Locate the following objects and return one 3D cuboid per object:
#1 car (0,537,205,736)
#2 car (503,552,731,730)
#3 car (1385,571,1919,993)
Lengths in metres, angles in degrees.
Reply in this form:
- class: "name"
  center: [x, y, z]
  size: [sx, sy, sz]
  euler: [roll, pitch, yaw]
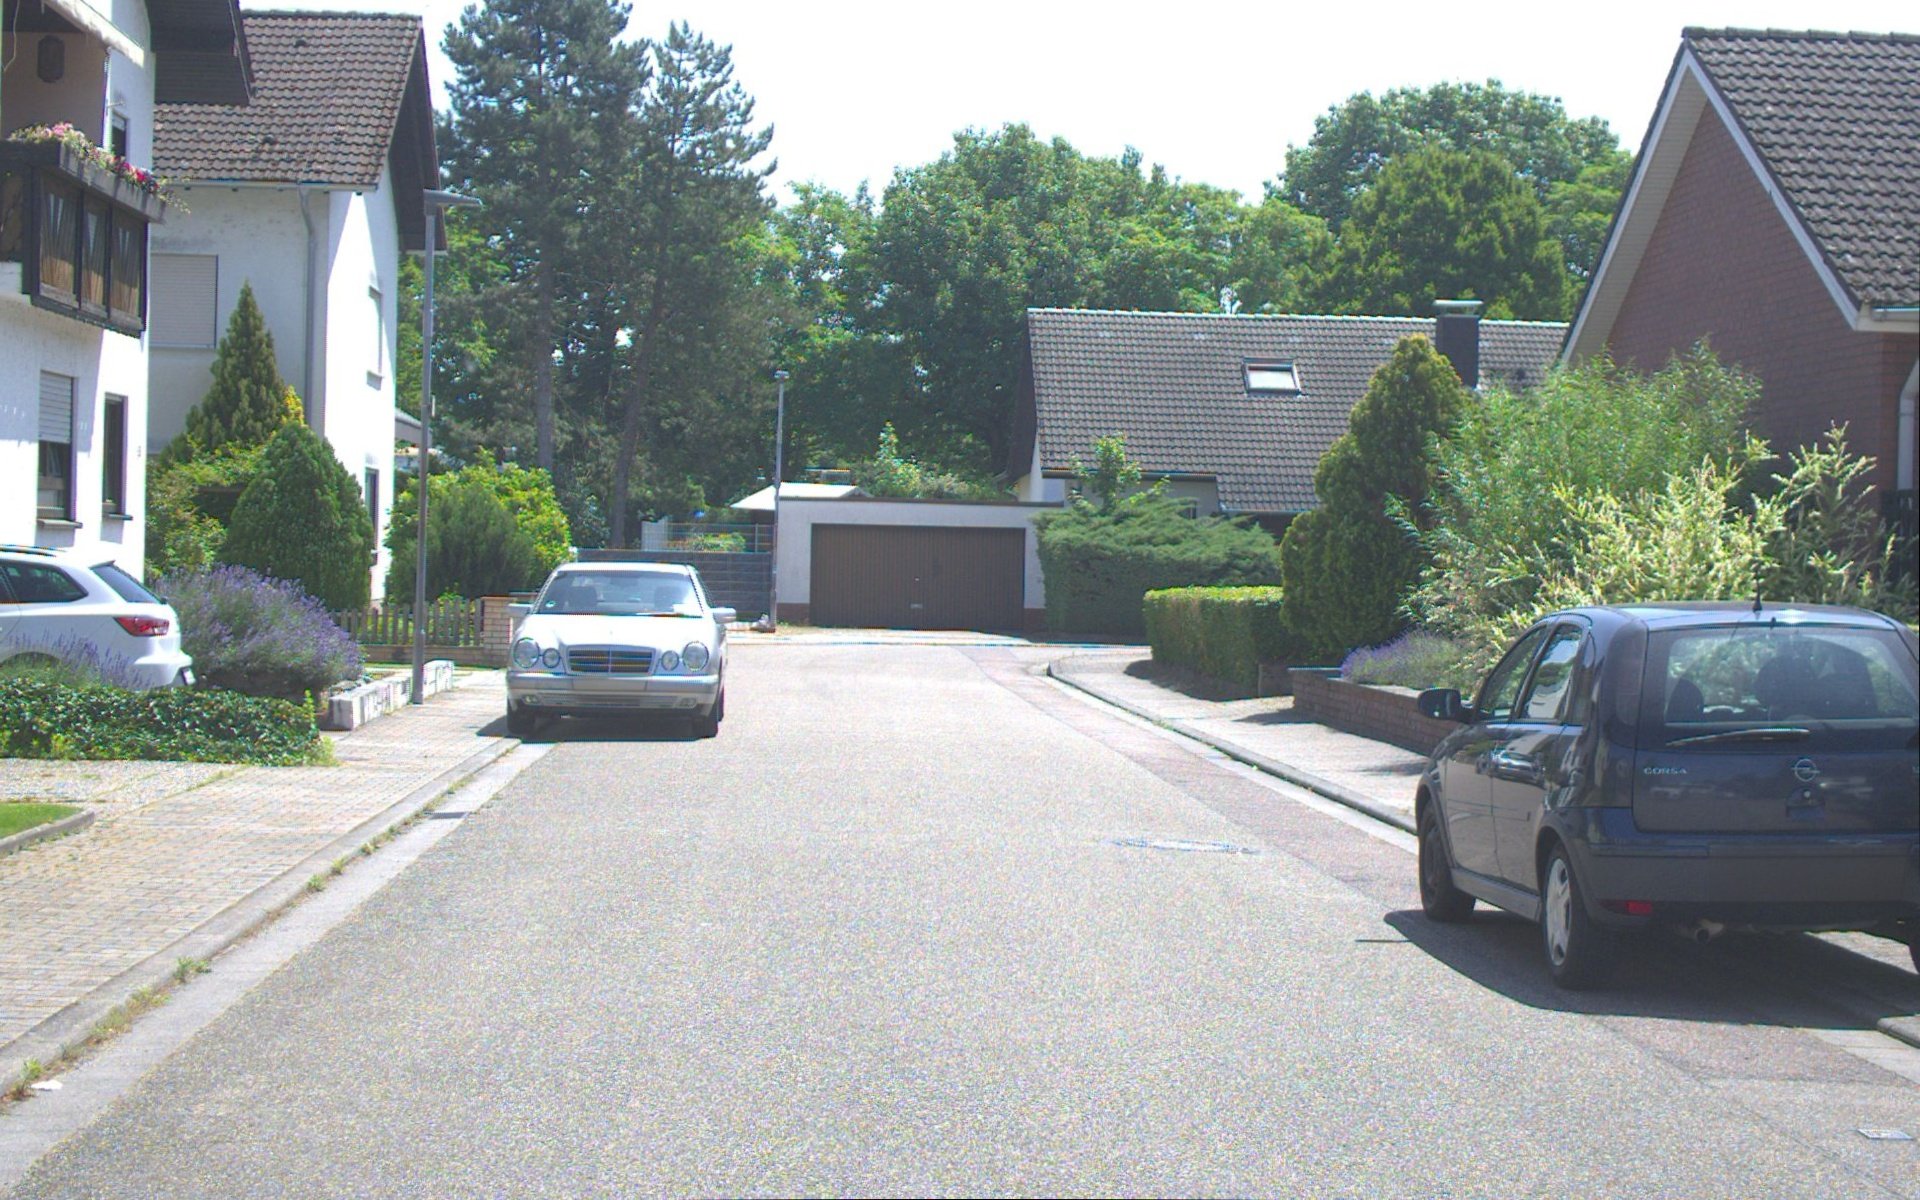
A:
- class: "car"
  center: [-7.786, 0.222, 25.786]
  size: [3.986, 1.415, 1.846]
  euler: [1, 1, -8]
- class: "car"
  center: [-2.927, 0.301, 30.060]
  size: [1.699, 1.388, 4.337]
  euler: [1, 1, -2]
- class: "car"
  center: [2.865, 0.634, 14.015]
  size: [1.650, 1.435, 3.652]
  euler: [1, 1, -2]
